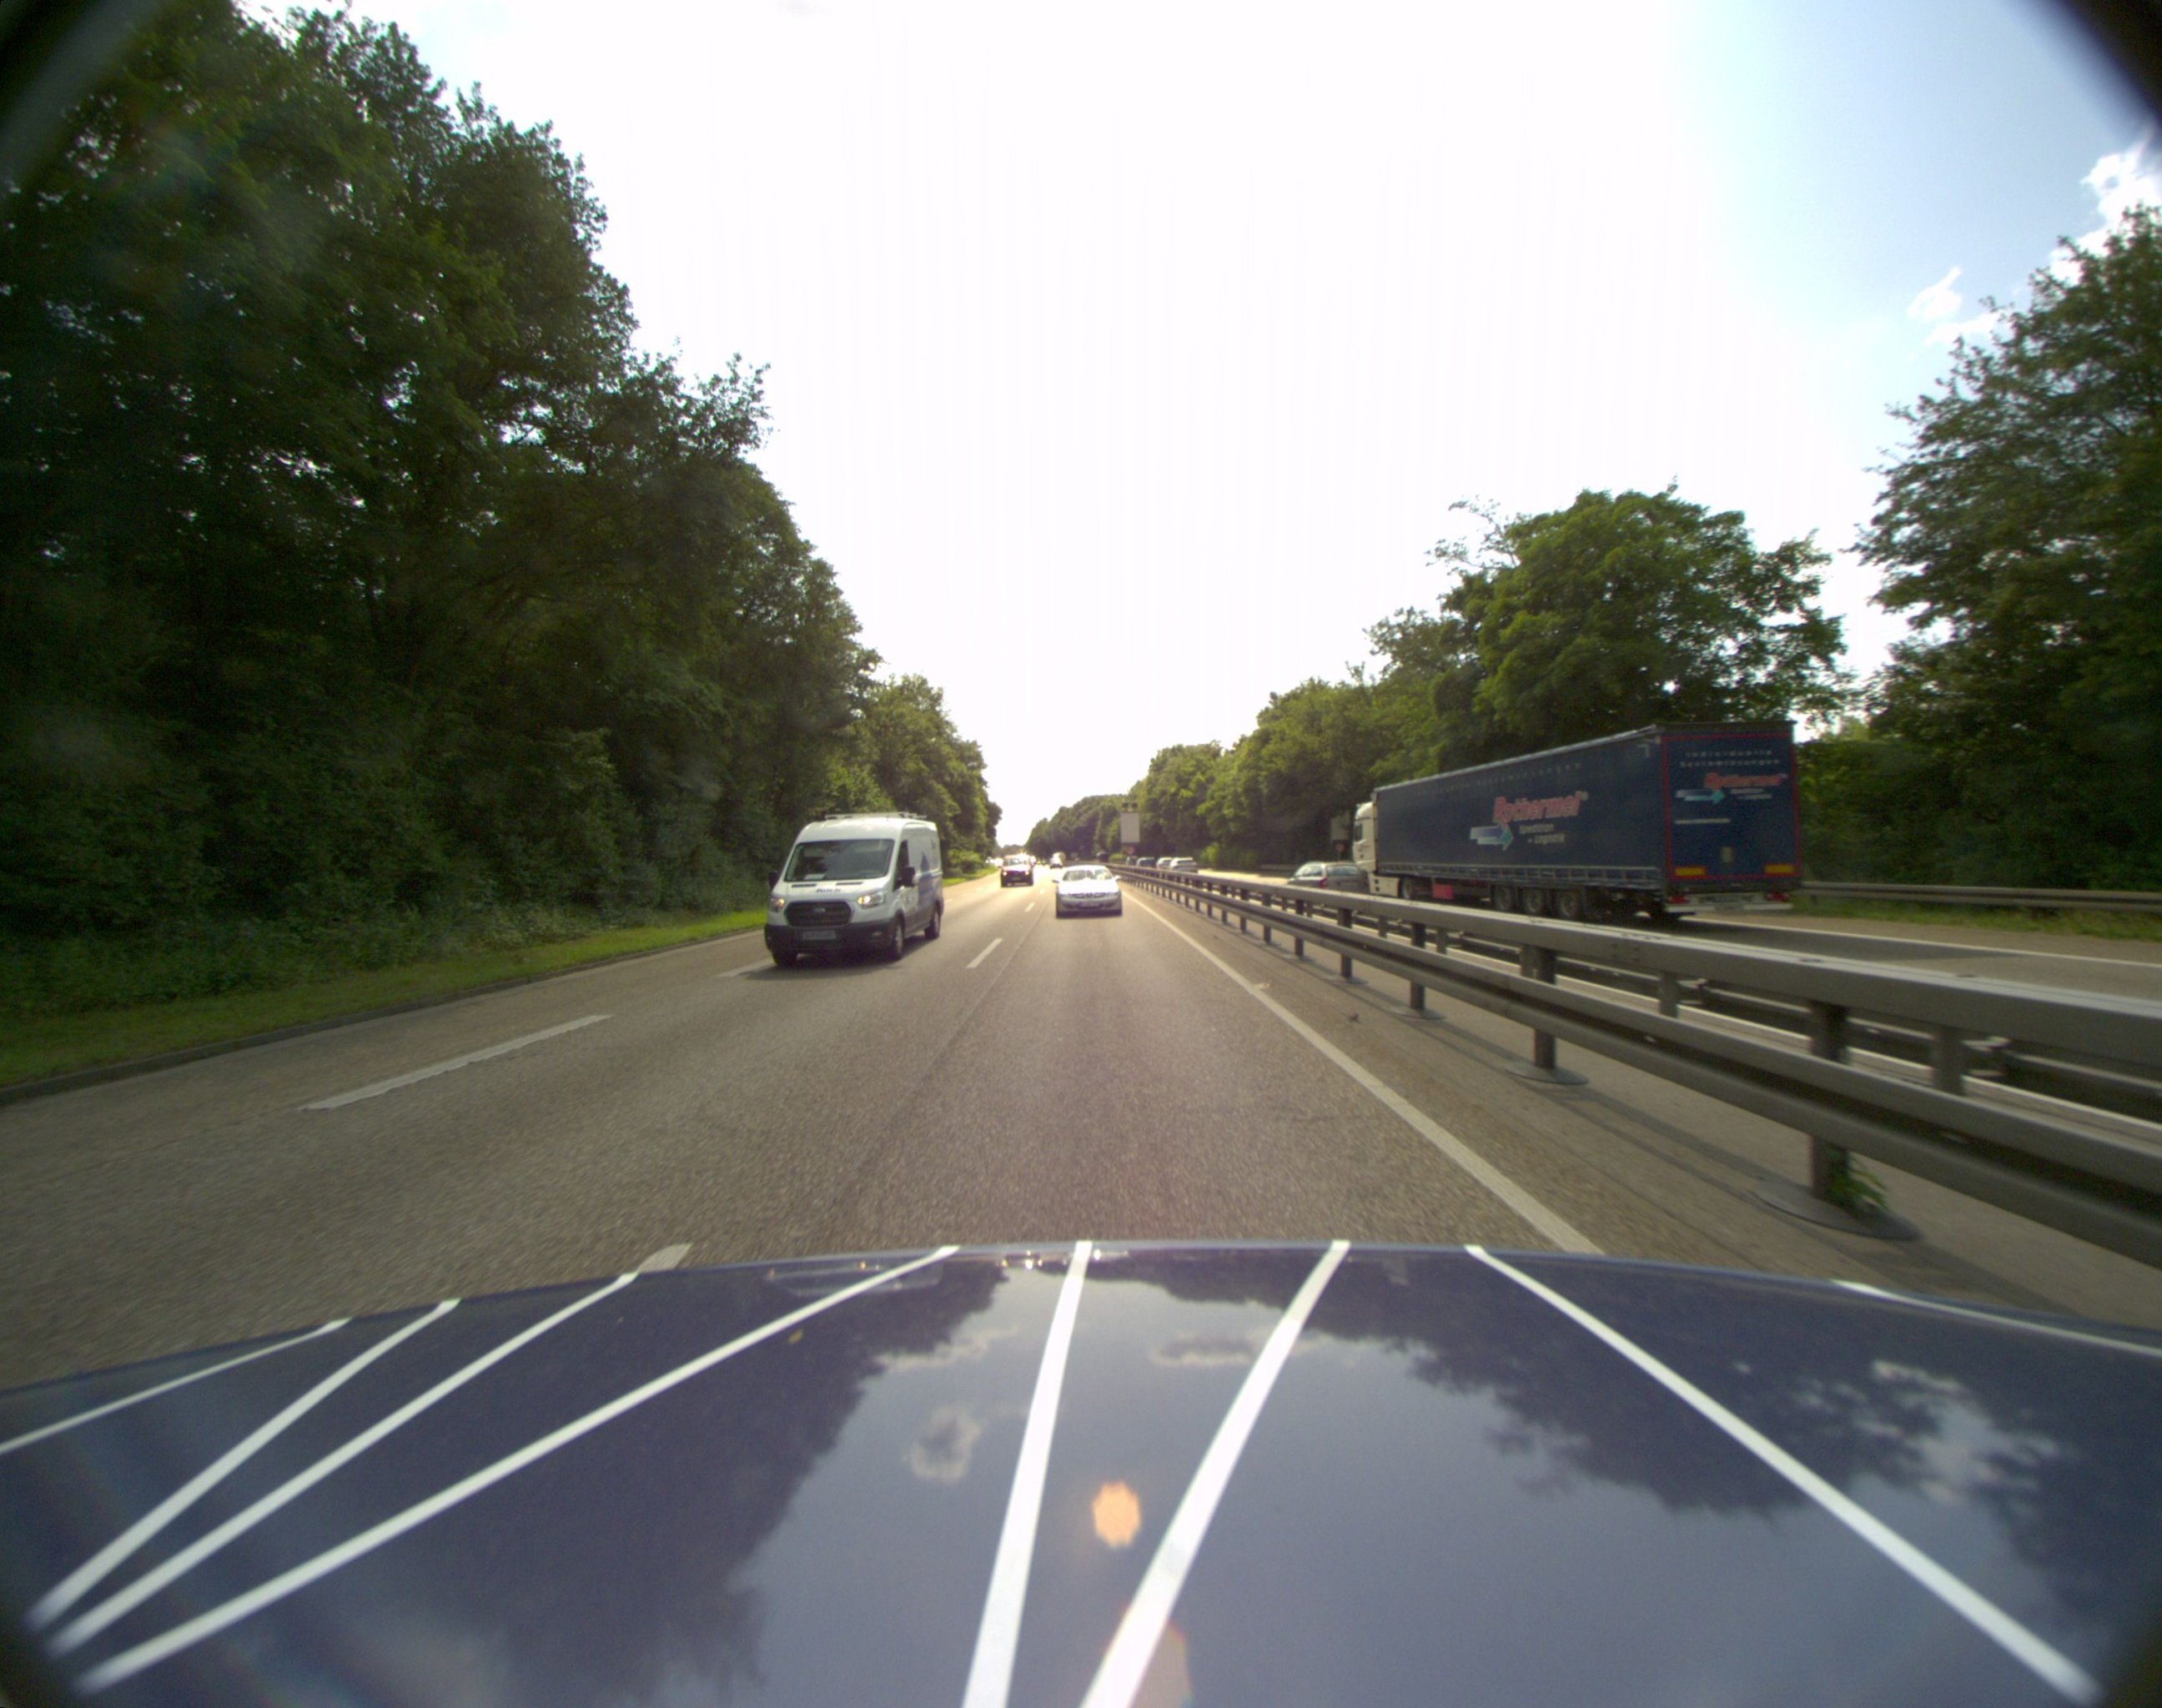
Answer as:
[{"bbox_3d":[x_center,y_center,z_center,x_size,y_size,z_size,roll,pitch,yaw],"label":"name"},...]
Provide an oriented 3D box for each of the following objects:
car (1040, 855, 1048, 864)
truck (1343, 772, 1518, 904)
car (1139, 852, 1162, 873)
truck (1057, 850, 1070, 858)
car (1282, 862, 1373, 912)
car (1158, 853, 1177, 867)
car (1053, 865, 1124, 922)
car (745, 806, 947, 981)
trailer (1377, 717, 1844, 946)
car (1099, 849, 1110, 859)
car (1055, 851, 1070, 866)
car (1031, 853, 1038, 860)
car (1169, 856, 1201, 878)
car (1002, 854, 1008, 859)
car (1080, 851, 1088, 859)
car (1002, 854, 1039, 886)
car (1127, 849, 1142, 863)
[{"bbox_3d":[-6.979,1.057,143.638,1.473,1.560,3.293,-1,0,-3],"label":"car"},{"bbox_3d":[12.228,-0.547,27.337,3.383,4.073,6.129,-2,1,0],"label":"truck"},{"bbox_3d":[6.766,0.803,74.505,1.860,2.004,3.993,-1,0,1],"label":"car"},{"bbox_3d":[-5.371,-0.006,231.220,2.931,2.153,8.769,-1,0,-7],"label":"truck"},{"bbox_3d":[7.959,1.004,24.907,1.666,1.436,4.009,-1,0,0],"label":"car"},{"bbox_3d":[10.165,0.707,89.410,1.860,1.506,3.993,-1,0,1],"label":"car"},{"bbox_3d":[0.235,1.031,21.952,1.751,1.295,5.223,-3,0,1],"label":"car"},{"bbox_3d":[-3.928,0.580,13.854,2.104,2.493,5.278,-3,0,-2],"label":"car"},{"bbox_3d":[12.236,-0.485,20.383,3.413,4.056,12.977,-2,1,0],"label":"trailer"},{"bbox_3d":[4.643,0.037,150.493,1.861,2.004,3.992,-1,0,-3],"label":"car"},{"bbox_3d":[-2.682,0.621,108.650,1.999,2.002,3.998,-1,0,-4],"label":"car"},{"bbox_3d":[-11.404,0.675,186.891,1.699,1.579,3.999,-1,0,-1],"label":"car"},{"bbox_3d":[7.607,0.916,56.072,1.860,1.506,3.993,-1,0,1],"label":"car"},{"bbox_3d":[-23.915,0.808,240.227,1.786,1.512,3.997,-1,0,-7],"label":"car"},{"bbox_3d":[0.755,0.185,191.373,1.861,2.004,3.992,-1,0,-3],"label":"car"},{"bbox_3d":[-3.647,0.915,46.438,1.908,1.795,4.394,-3,0,-1],"label":"car"},{"bbox_3d":[8.100,0.295,115.382,1.860,2.004,3.993,-1,0,-1],"label":"car"}]
